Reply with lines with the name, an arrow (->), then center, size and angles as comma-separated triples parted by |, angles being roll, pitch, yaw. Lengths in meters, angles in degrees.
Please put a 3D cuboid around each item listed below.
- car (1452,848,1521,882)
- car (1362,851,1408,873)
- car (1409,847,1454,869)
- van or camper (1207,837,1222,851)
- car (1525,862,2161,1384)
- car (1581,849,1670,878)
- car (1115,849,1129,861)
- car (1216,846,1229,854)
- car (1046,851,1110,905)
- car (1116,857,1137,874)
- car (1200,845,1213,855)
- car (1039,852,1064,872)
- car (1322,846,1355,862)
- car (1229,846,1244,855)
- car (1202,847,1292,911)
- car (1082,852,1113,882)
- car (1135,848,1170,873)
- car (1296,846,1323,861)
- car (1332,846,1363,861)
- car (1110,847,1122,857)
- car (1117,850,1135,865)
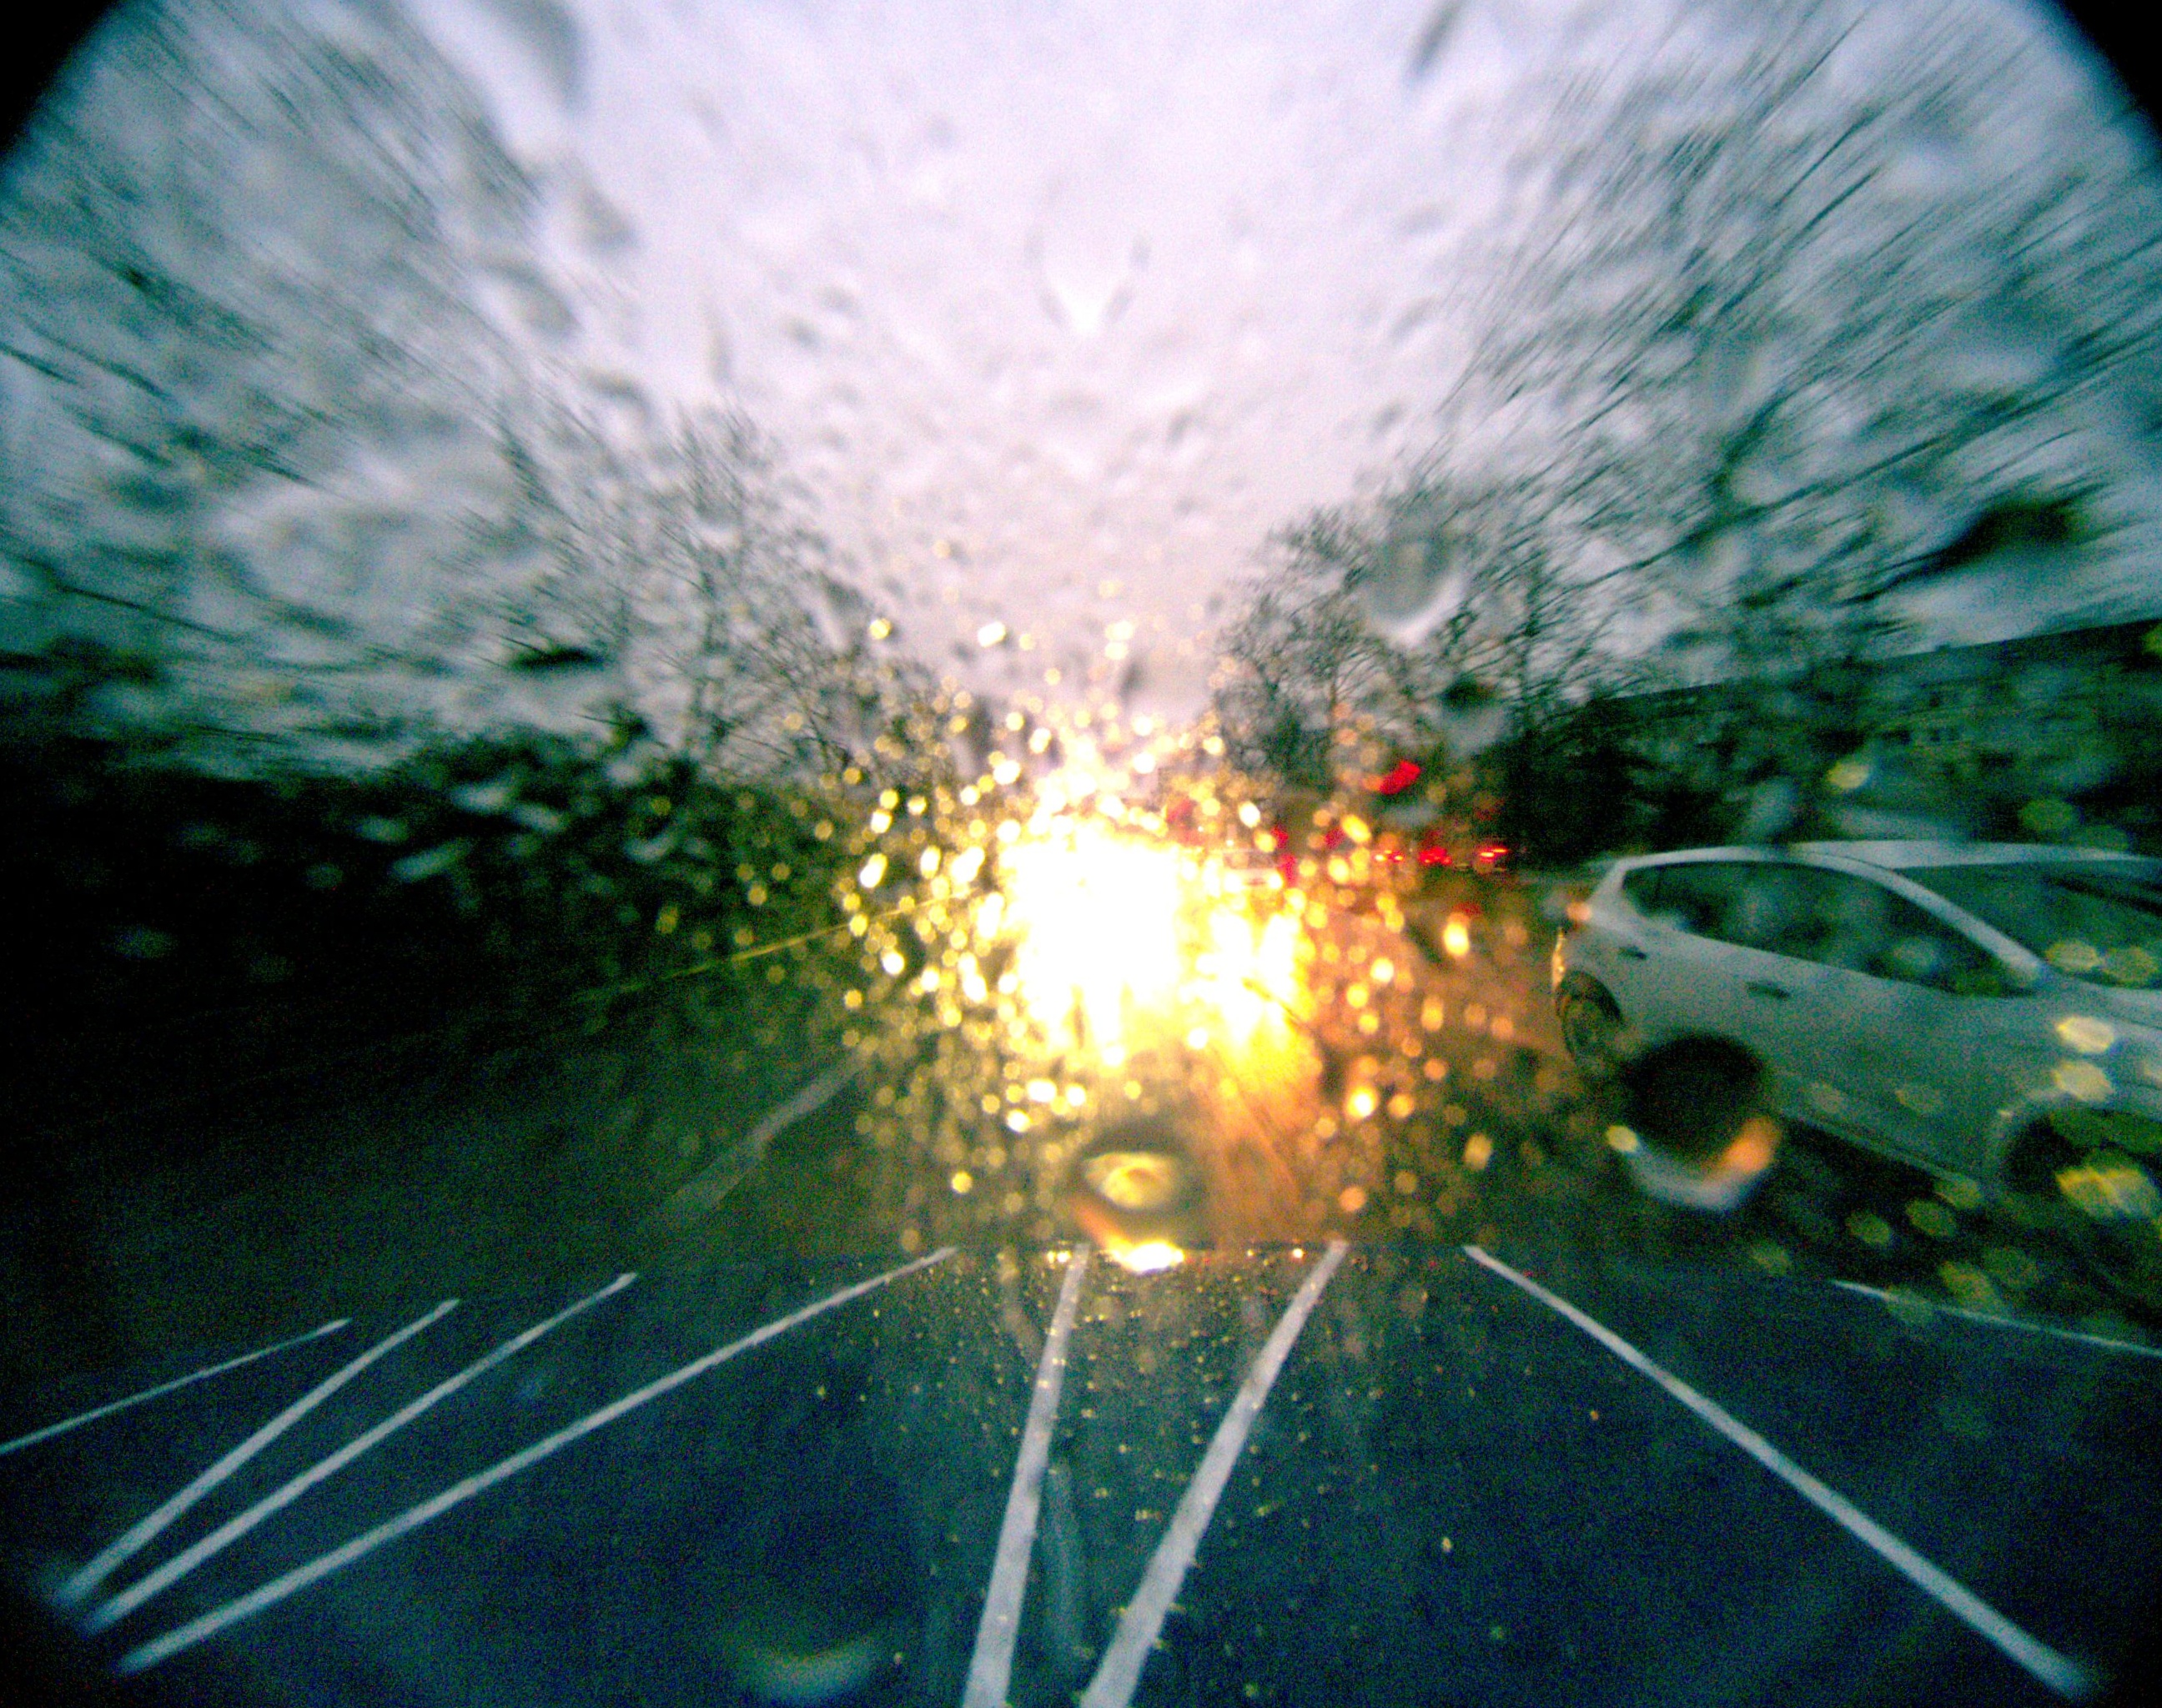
car -> 21.517, 0.536, 40.521 | 1.621, 1.672, 3.981 | -1, 0, 1
car -> 22.692, 0.571, 56.946 | 1.788, 1.524, 4.377 | -1, 1, 1
car -> 25.673, 0.278, 55.787 | 1.636, 1.459, 3.791 | -1, 1, 1
van or camper -> 25.472, -1.829, 145.046 | 1.967, 2.594, 4.738 | -1, 1, 1
car -> 4.033, 0.805, 3.357 | 1.728, 1.432, 4.226 | -1, 0, 1
car -> 28.687, 0.472, 40.217 | 1.753, 1.387, 4.299 | -1, 1, 2
car -> 5.862, 0.178, 108.550 | 1.852, 1.610, 3.951 | -2, 1, 1
car -> 24.273, -0.690, 130.370 | 1.541, 1.285, 4.000 | -1, 1, 1
car -> -0.035, 0.691, 24.100 | 1.830, 1.524, 4.000 | -1, 1, 1
car -> 4.049, 1.012, 68.275 | 1.697, 1.327, 3.999 | -2, 1, 1
car -> 21.482, -0.698, 129.879 | 1.573, 1.495, 3.999 | -2, 1, 1
car -> -2.270, 0.591, 60.033 | 1.728, 1.426, 3.790 | -1, 1, 1
car -> 22.677, 0.002, 67.066 | 1.653, 1.346, 3.956 | -1, 1, 1
car -> 23.818, -0.608, 116.745 | 1.541, 1.304, 4.000 | -1, 1, 1
car -> 4.589, 0.621, 21.561 | 1.765, 1.590, 4.165 | -1, 1, 2
car -> 0.958, 0.735, 44.437 | 1.728, 1.573, 3.790 | -1, 1, 1
car -> 4.786, 0.413, 51.409 | 2.026, 1.522, 4.145 | -1, 1, 0
car -> 23.263, -0.082, 77.344 | 1.653, 1.491, 3.956 | -1, 1, 1
car -> 26.962, -0.068, 77.034 | 1.722, 1.480, 4.271 | -1, 1, 1
car -> 5.931, -0.337, 127.793 | 1.852, 1.610, 3.951 | -2, 1, 1
car -> 5.073, 0.357, 85.690 | 1.852, 1.610, 3.951 | -2, 1, 1
